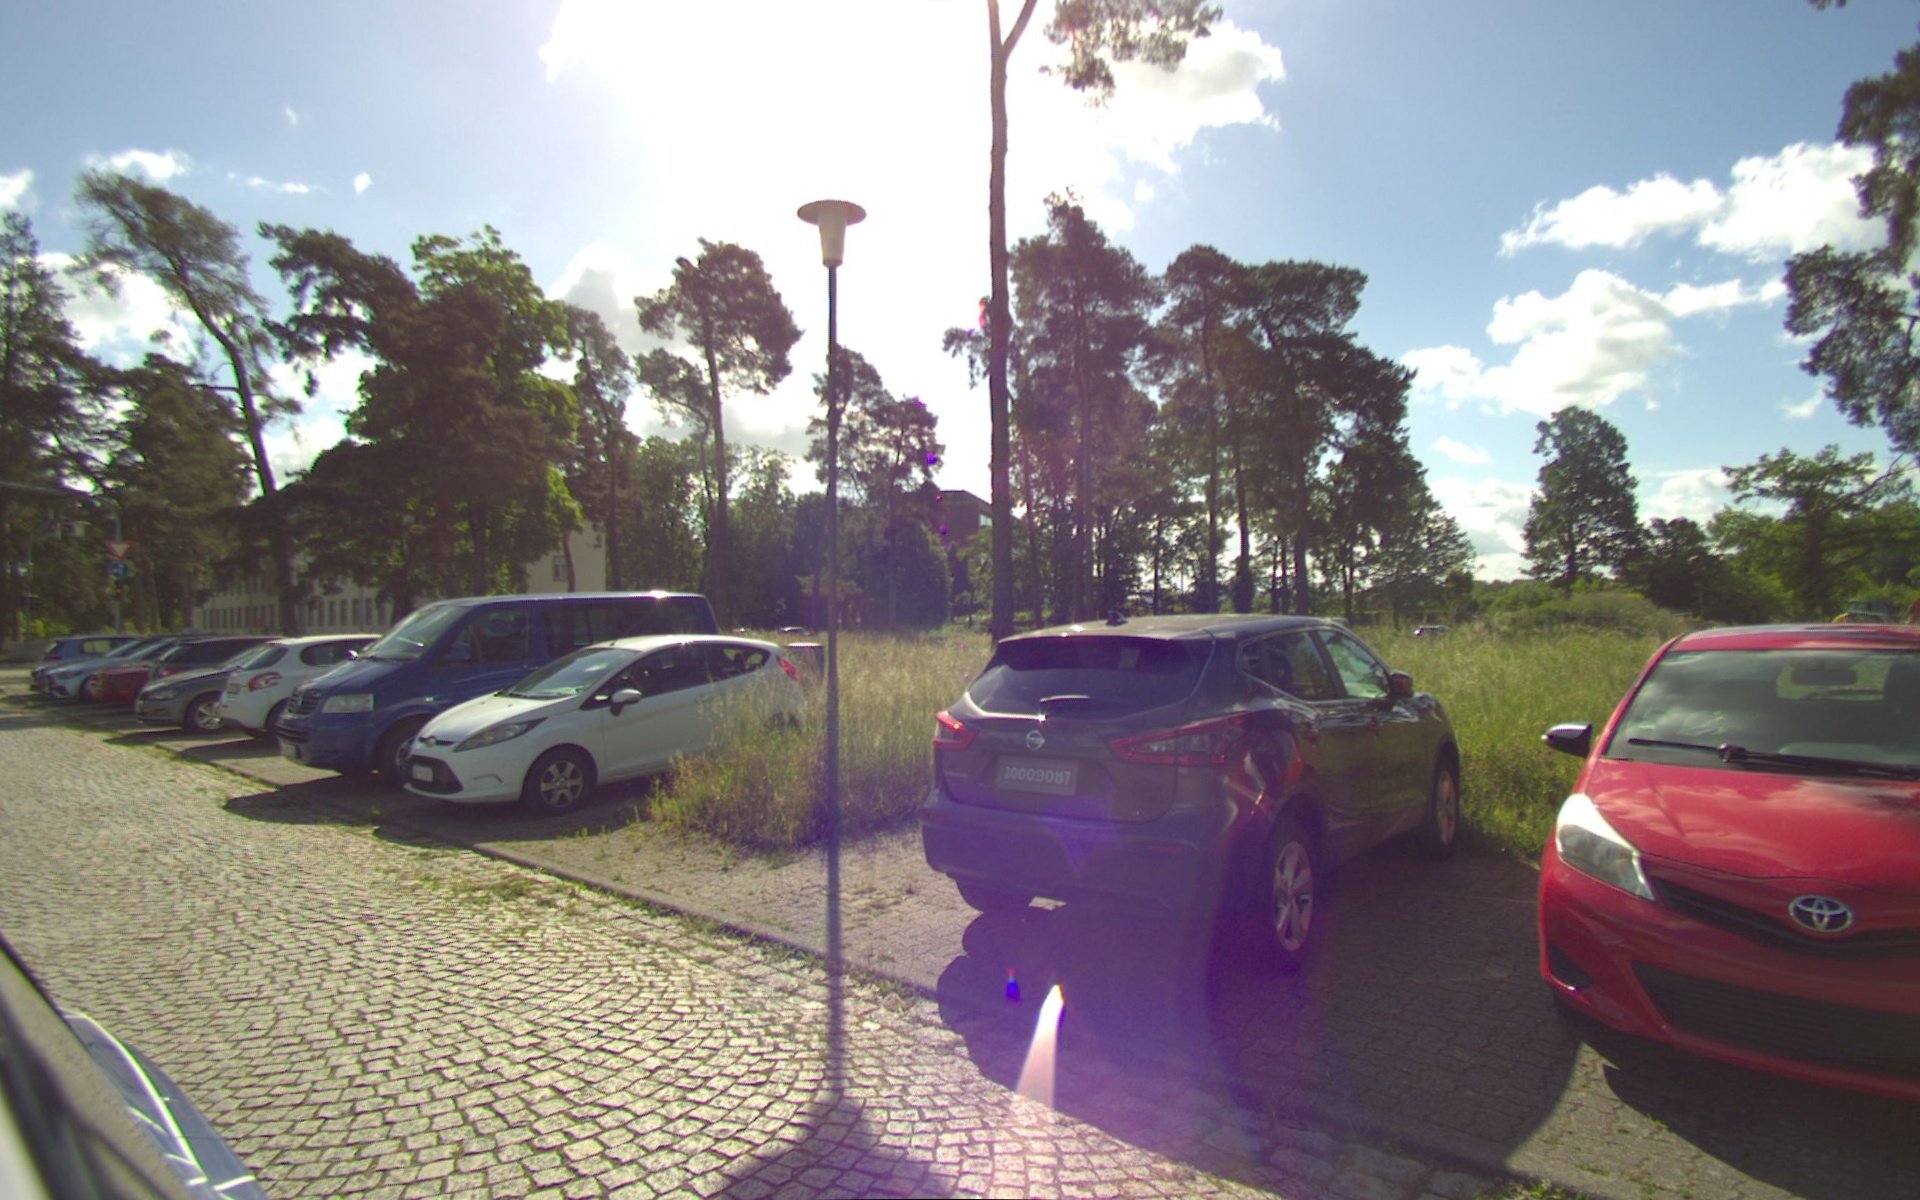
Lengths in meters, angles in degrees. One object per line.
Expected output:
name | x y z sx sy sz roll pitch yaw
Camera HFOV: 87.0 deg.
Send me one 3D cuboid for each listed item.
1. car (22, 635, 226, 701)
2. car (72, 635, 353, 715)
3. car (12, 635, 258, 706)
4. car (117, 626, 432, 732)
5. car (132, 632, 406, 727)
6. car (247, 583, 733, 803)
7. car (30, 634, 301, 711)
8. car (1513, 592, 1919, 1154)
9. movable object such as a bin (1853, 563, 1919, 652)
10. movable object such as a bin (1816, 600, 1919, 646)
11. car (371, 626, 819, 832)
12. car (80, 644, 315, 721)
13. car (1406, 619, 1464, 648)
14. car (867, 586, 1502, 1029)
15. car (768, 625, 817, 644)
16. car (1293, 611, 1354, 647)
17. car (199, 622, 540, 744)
car | -22.727 1.797 27.626 1.947 1.494 3.987 -3 -1 39
car | -16.714 1.591 22.846 1.938 1.431 4.814 -2 0 41
car | -20.874 1.700 25.772 1.981 1.463 4.538 -1 0 38
car | -11.385 1.226 16.999 1.922 1.436 4.033 -2 -1 42
car | -13.125 1.423 19.392 1.821 1.463 4.033 -1 0 42
car | -5.165 0.843 11.688 2.004 1.983 4.669 -2 0 41
car | -18.750 1.624 24.074 1.938 1.431 4.814 -1 0 41
car | 3.797 0.731 4.238 1.865 1.460 3.884 -3 -1 40
movable object such as a bin | 44.020 0.332 43.930 6.734 3.760 3.908 -1 -2 18
movable object such as a bin | 45.573 1.122 49.420 2.491 2.142 5.683 0 -2 -3
car | -3.334 1.053 9.837 1.681 1.451 3.779 -2 0 38
car | -15.515 1.612 20.702 1.759 1.243 3.592 -1 0 42
car | 27.992 1.962 59.601 1.912 1.617 4.183 -2 -2 42
car | 1.563 0.770 5.829 1.972 1.579 3.914 -3 -1 40
car | -14.812 3.079 89.669 1.841 1.642 4.002 -2 -3 43
car | 22.956 1.820 63.773 1.957 2.180 4.794 -2 -2 42
car | -8.879 1.150 15.493 1.823 1.486 4.153 -2 -1 41
